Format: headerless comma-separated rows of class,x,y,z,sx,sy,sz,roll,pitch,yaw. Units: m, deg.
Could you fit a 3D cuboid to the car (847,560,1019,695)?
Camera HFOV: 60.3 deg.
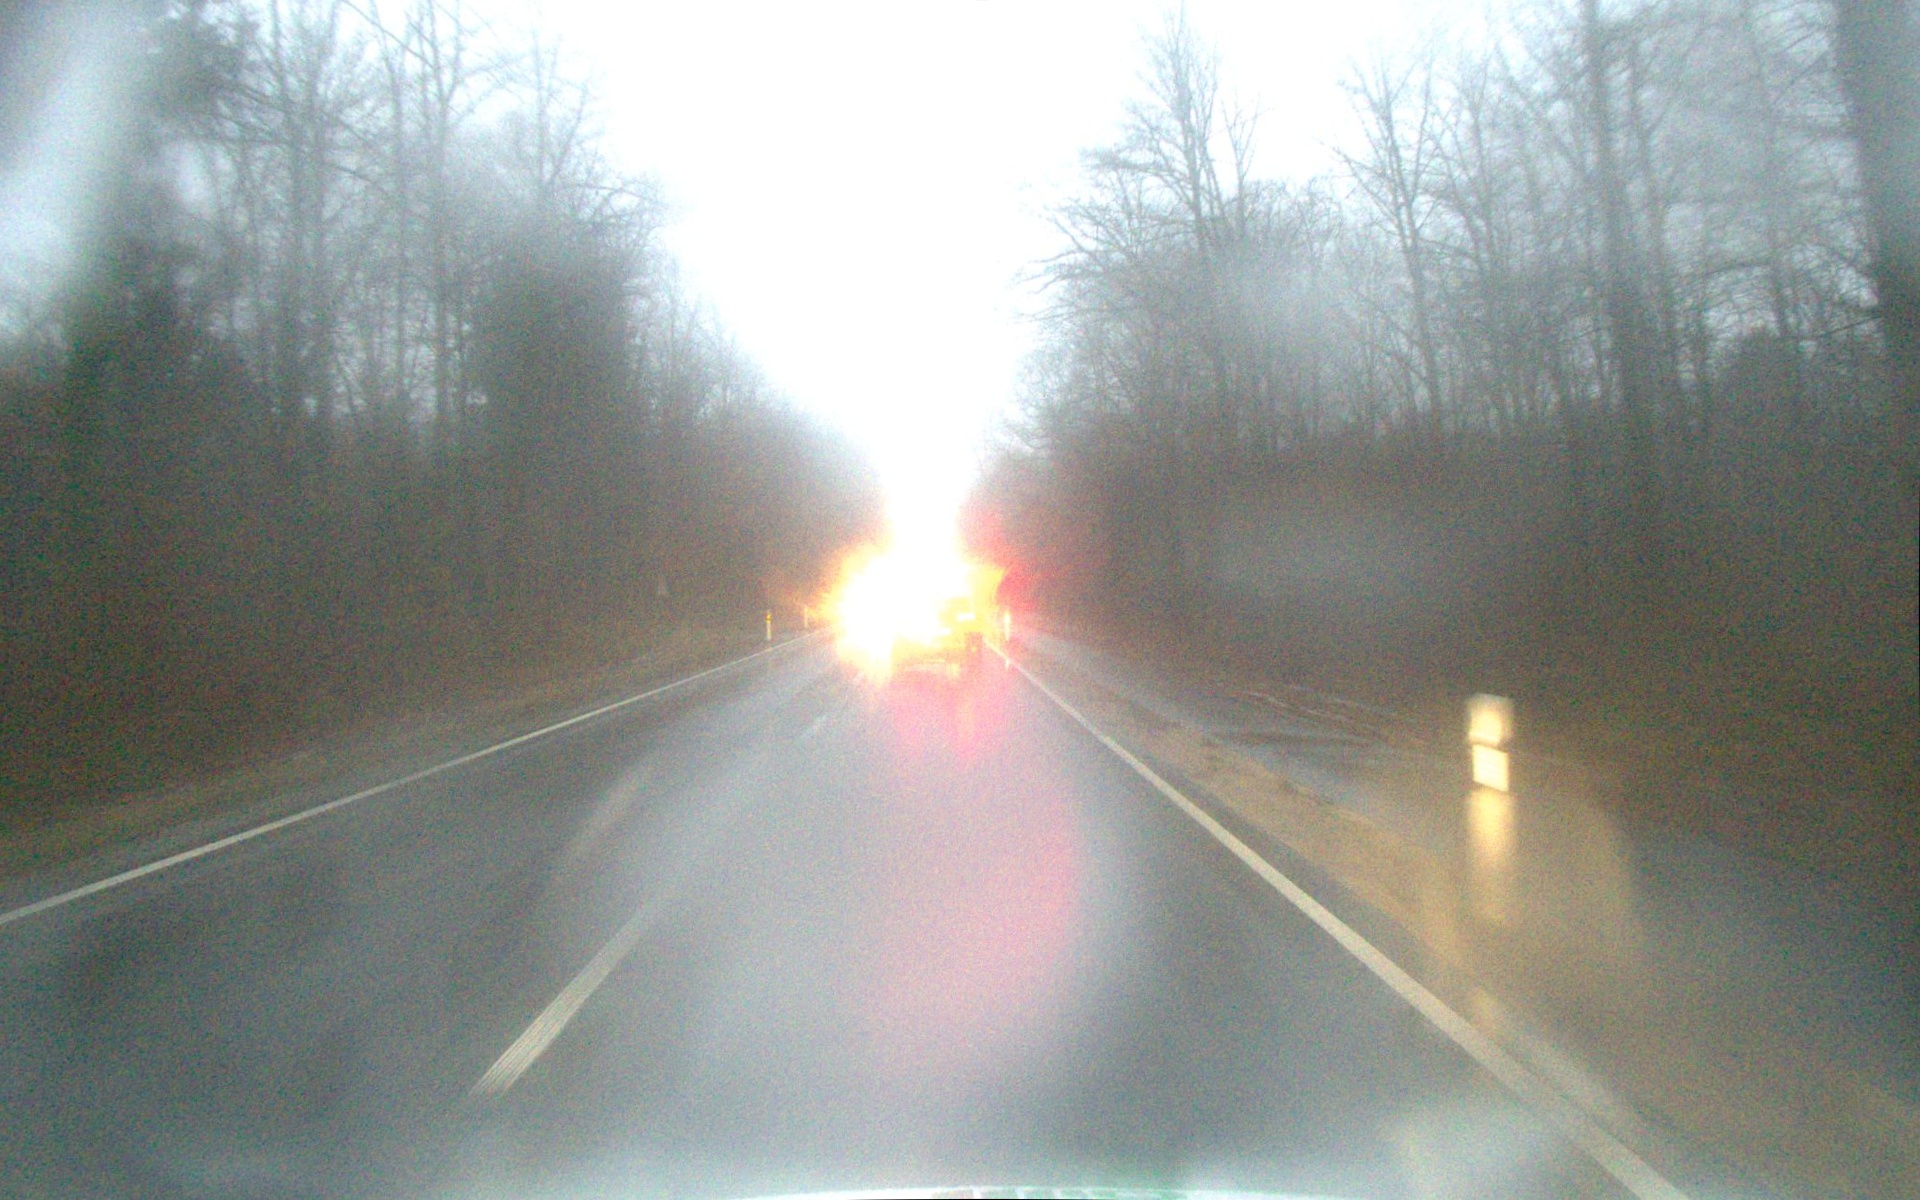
car,-0.504,0.512,33.742,3.118,2.428,6.636,1,0,0
